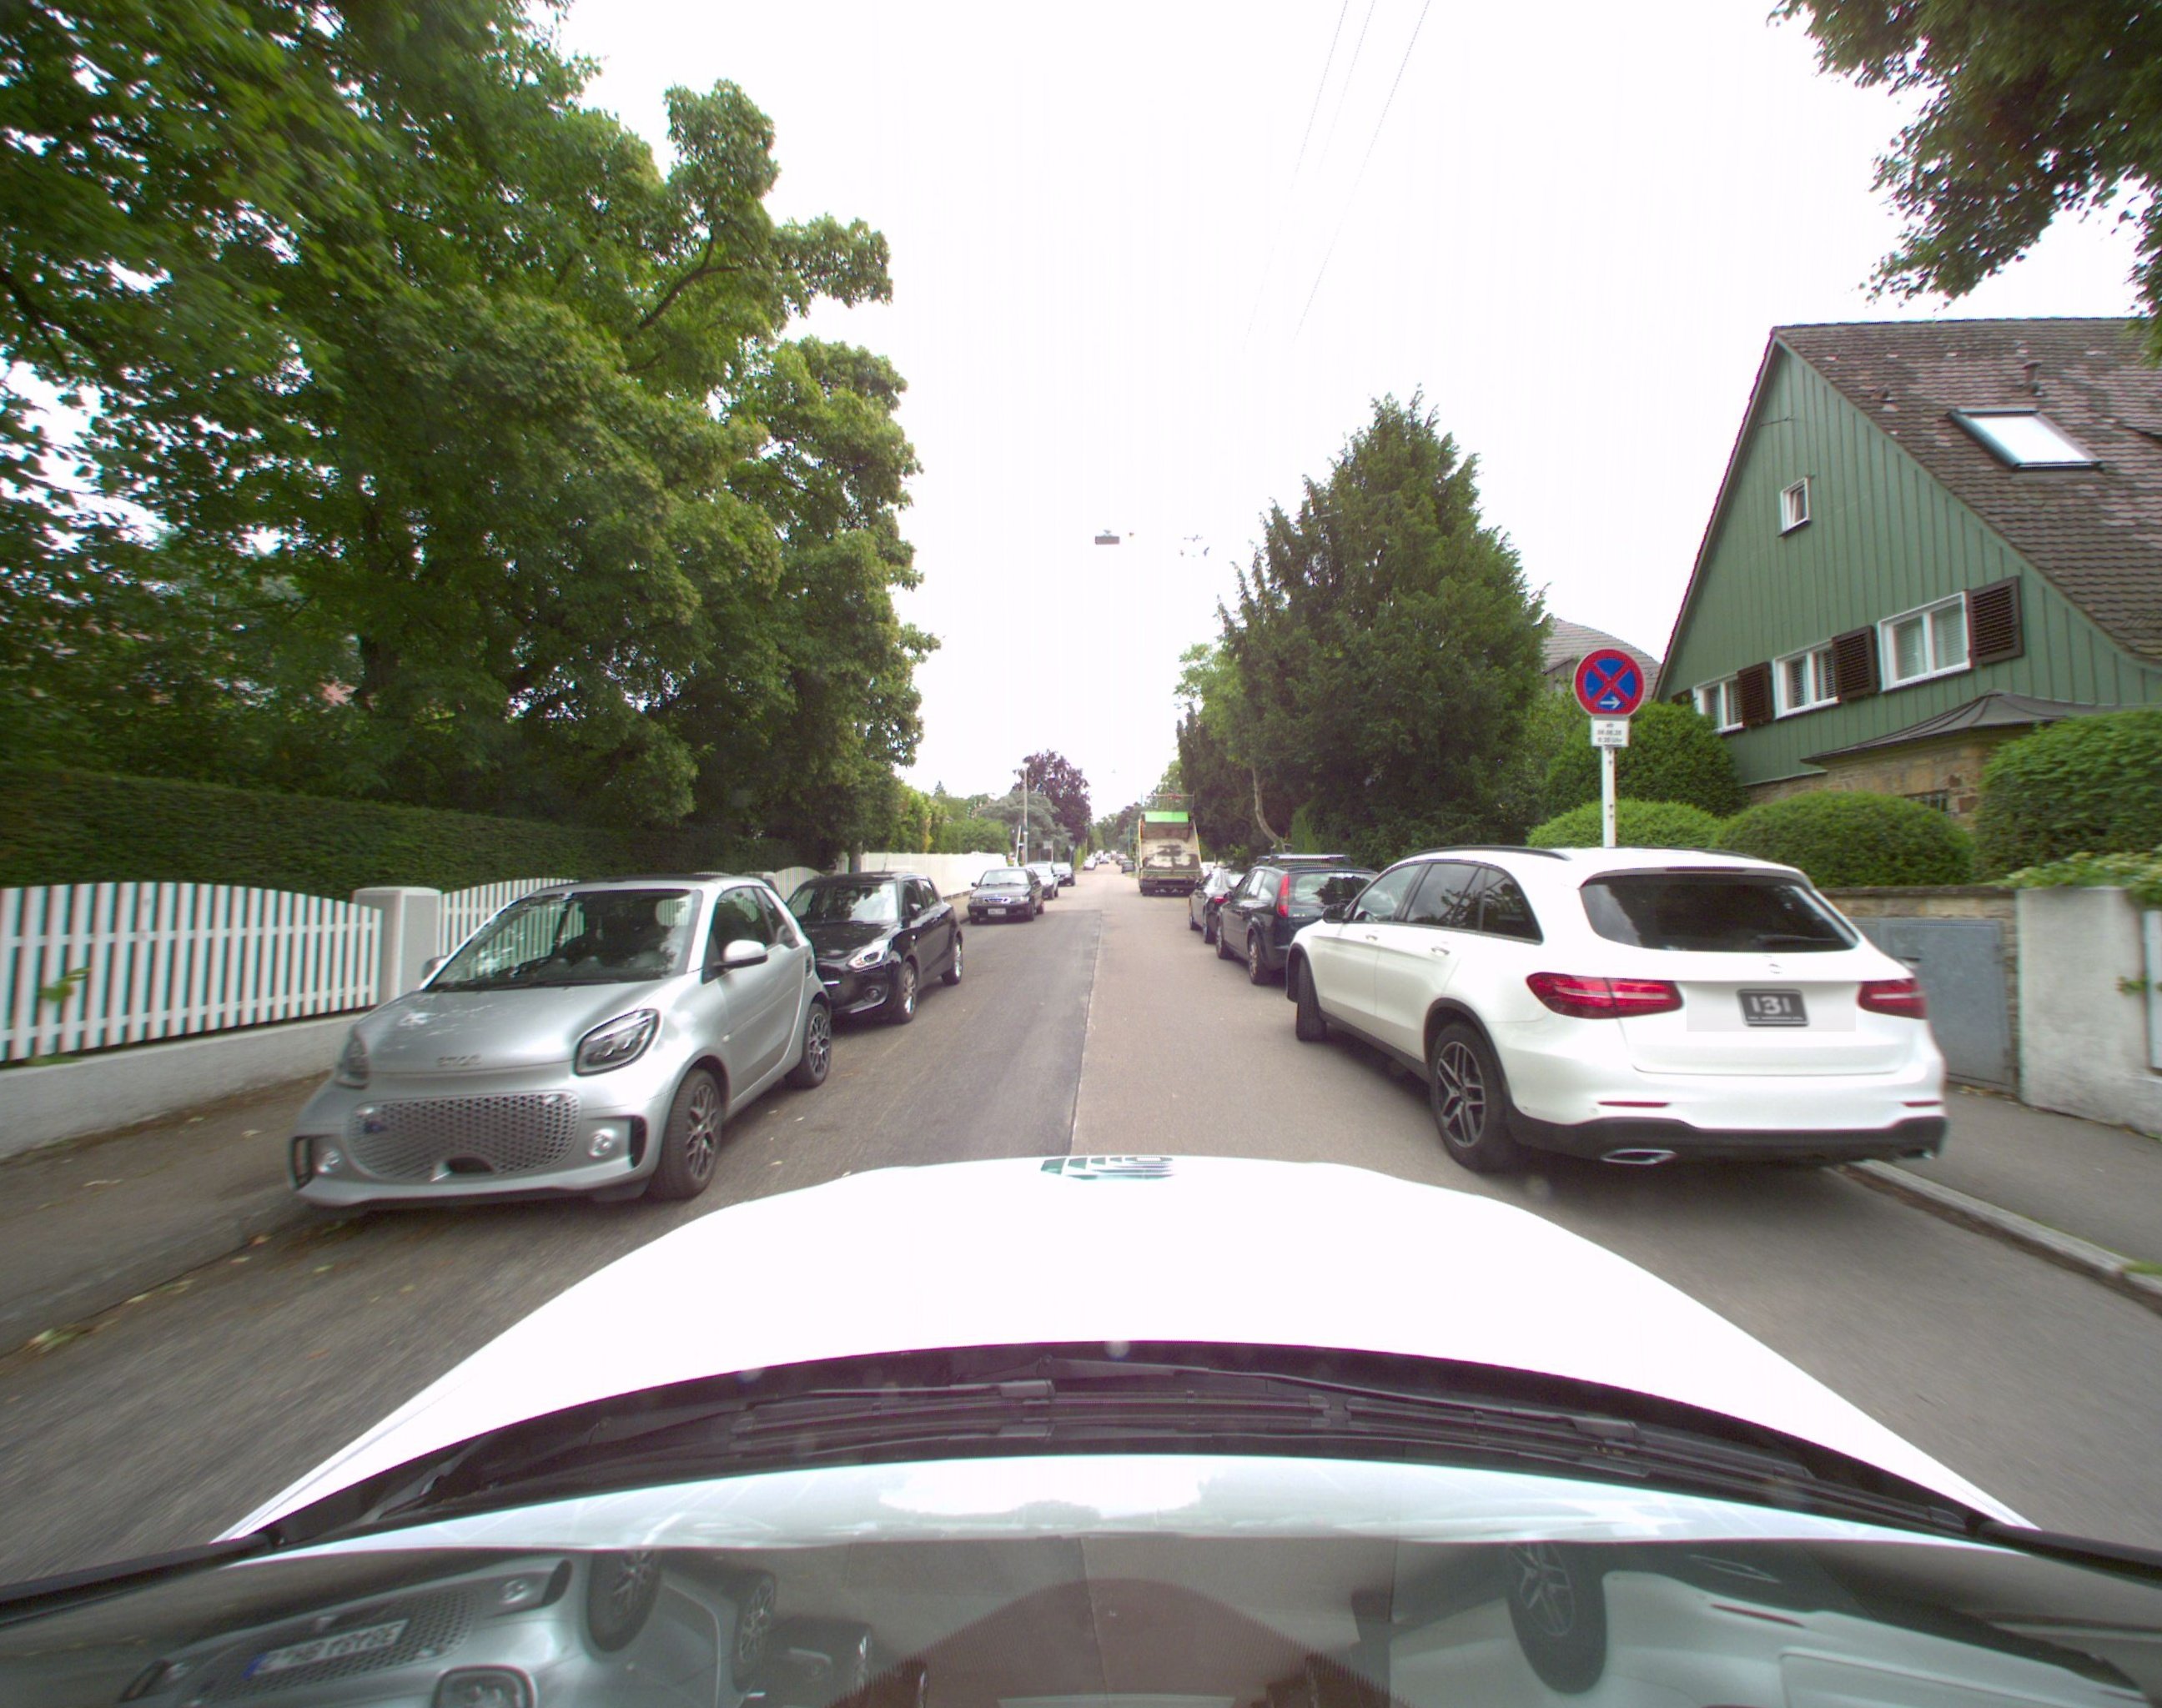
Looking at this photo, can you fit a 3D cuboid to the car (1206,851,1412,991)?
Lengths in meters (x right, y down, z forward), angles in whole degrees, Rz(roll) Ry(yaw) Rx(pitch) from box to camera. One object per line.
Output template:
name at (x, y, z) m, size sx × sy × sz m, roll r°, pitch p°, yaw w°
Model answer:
car at (2.922, 0.784, 11.415) m, size 1.692 × 1.570 × 4.308 m, roll -1°, pitch -1°, yaw 0°

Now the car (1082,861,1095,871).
car at (1.187, 1.811, 125.986) m, size 1.703 × 1.586 × 4.005 m, roll 0°, pitch -1°, yaw 5°

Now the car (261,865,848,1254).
car at (-2.648, 0.883, 4.936) m, size 1.617 × 1.533 × 2.960 m, roll -3°, pitch 0°, yaw -2°

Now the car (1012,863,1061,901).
car at (-1.776, 1.111, 33.683) m, size 1.589 × 1.433 × 4.003 m, roll -2°, pitch -1°, yaw 3°

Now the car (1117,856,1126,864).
car at (7.860, 1.224, 158.678) m, size 1.782 × 1.529 × 3.737 m, roll 0°, pitch 0°, yaw 3°

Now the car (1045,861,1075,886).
car at (-1.251, 1.164, 49.481) m, size 1.631 × 1.395 × 3.989 m, roll -2°, pitch 0°, yaw 0°

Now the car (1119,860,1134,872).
car at (5.892, 1.521, 105.761) m, size 1.772 × 1.489 × 4.000 m, roll 0°, pitch -1°, yaw 1°

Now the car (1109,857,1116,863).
car at (8.064, 1.566, 209.658) m, size 1.628 × 1.701 × 3.495 m, roll 0°, pitch 0°, yaw 1°

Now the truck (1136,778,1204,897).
truck at (3.824, -0.648, 36.273) m, size 2.514 × 4.748 × 7.191 m, roll 1°, pitch -1°, yaw 2°

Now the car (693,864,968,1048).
car at (-2.460, 0.917, 9.054) m, size 1.648 × 1.481 × 3.890 m, roll -3°, pitch 0°, yaw 2°

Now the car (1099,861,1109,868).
car at (4.719, 2.072, 164.466) m, size 1.720 × 1.407 × 3.809 m, roll 0°, pitch -1°, yaw 6°

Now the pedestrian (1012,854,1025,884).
pedestrian at (-4.246, 0.992, 55.357) m, size 0.850 × 2.014 × 0.700 m, roll 2°, pitch -1°, yaw -3°

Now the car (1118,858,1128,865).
car at (7.702, 1.361, 149.390) m, size 1.804 × 1.335 × 3.633 m, roll 1°, pitch 1°, yaw 1°

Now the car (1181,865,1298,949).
car at (3.090, 0.970, 16.701) m, size 1.645 × 1.424 × 4.663 m, roll 1°, pitch 0°, yaw 2°

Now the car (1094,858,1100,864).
car at (4.239, 1.859, 214.426) m, size 1.621 × 1.386 × 3.599 m, roll 2°, pitch 0°, yaw 1°

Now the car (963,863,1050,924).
car at (-1.943, 1.004, 22.501) m, size 1.633 × 1.422 × 4.554 m, roll -3°, pitch -1°, yaw 4°

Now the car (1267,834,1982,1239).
car at (2.734, 0.754, 5.567) m, size 1.753 × 1.606 × 4.572 m, roll 1°, pitch -1°, yaw -2°
